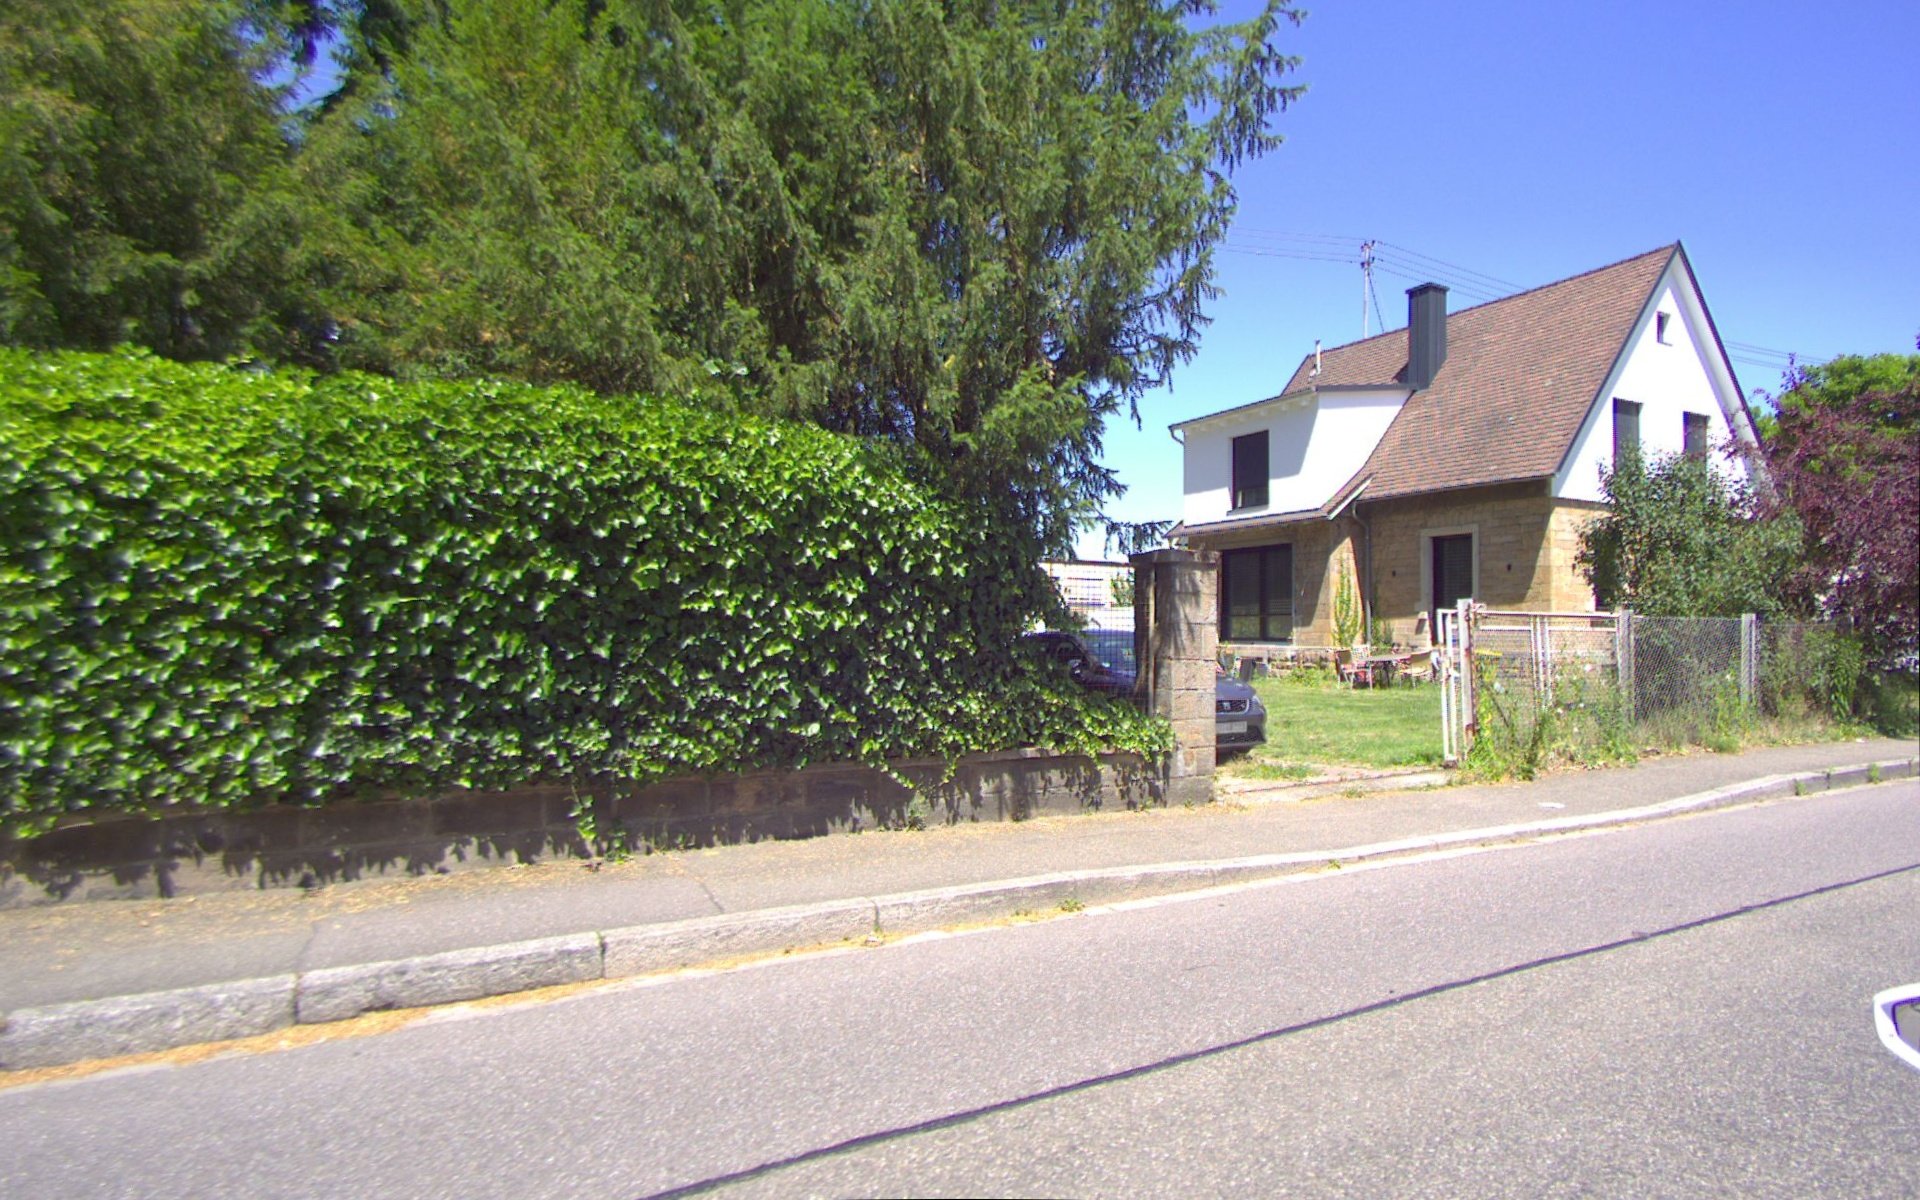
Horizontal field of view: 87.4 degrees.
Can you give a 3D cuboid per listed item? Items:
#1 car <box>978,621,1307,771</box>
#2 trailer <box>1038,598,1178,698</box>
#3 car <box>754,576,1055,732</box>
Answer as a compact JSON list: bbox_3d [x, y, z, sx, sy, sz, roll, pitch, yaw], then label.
[{"bbox_3d":[1.934,1.037,11.935,1.942,1.443,3.977,1,-3,-25],"label":"car"},{"bbox_3d":[3.469,1.119,24.274,1.795,2.200,3.869,1,-1,-19],"label":"trailer"},{"bbox_3d":[-1.295,0.930,17.596,2.376,2.200,6.626,2,-3,-32],"label":"car"}]
